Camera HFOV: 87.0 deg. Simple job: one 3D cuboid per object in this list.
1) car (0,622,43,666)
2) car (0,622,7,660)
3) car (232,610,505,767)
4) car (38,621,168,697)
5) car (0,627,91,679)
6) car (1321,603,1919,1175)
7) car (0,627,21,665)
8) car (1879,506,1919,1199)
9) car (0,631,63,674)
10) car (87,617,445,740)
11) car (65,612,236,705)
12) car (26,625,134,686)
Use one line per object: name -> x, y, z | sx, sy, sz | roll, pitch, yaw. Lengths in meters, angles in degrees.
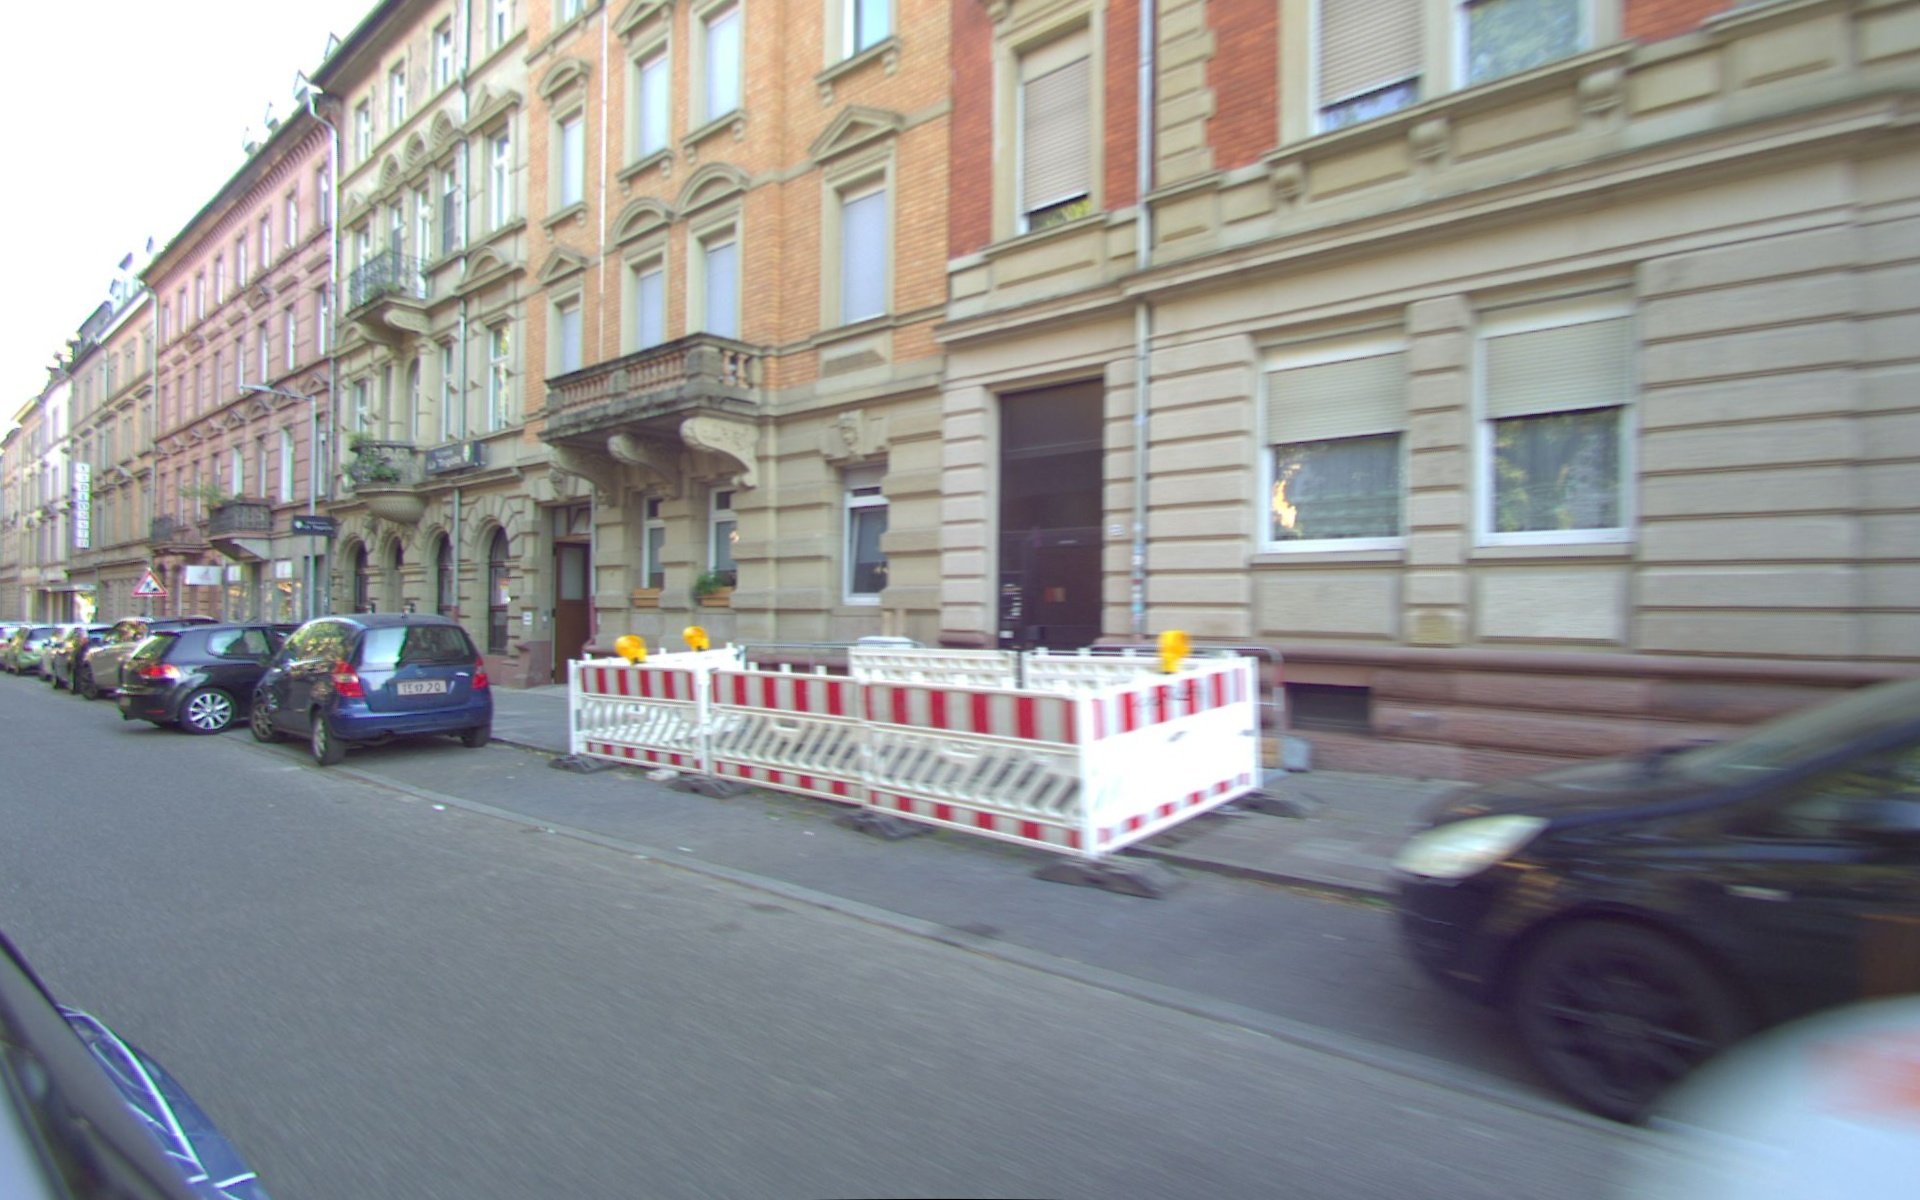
car -> -34.250, 1.561, 36.111 | 4.421, 1.488, 1.802 | -1, -1, 41
car -> -42.445, 1.765, 43.455 | 4.312, 1.612, 1.802 | -1, -1, 41
car -> -7.194, 0.941, 12.166 | 3.893, 1.579, 1.723 | -1, -2, 42
car -> -19.420, 1.273, 22.876 | 3.998, 1.484, 1.630 | -1, 1, 41
car -> -27.071, 1.513, 29.810 | 3.957, 1.450, 1.687 | -1, -2, 42
car -> 3.359, 0.748, 2.951 | 4.017, 1.465, 1.686 | -1, -2, 40
car -> -38.943, 1.820, 40.352 | 4.312, 1.436, 1.802 | -1, -1, 41
car -> 2.860, 0.620, 0.115 | 3.998, 1.521, 1.731 | -1, -2, 41
car -> -30.596, 1.663, 32.881 | 4.099, 1.333, 1.687 | -1, -2, 42
car -> -10.018, 1.051, 14.886 | 1.822, 1.541, 3.952 | -1, -2, 35
car -> -15.827, 1.084, 19.729 | 4.042, 1.586, 1.632 | -1, 1, 37
car -> -22.954, 1.392, 26.347 | 3.998, 1.484, 1.565 | -1, -2, 41
